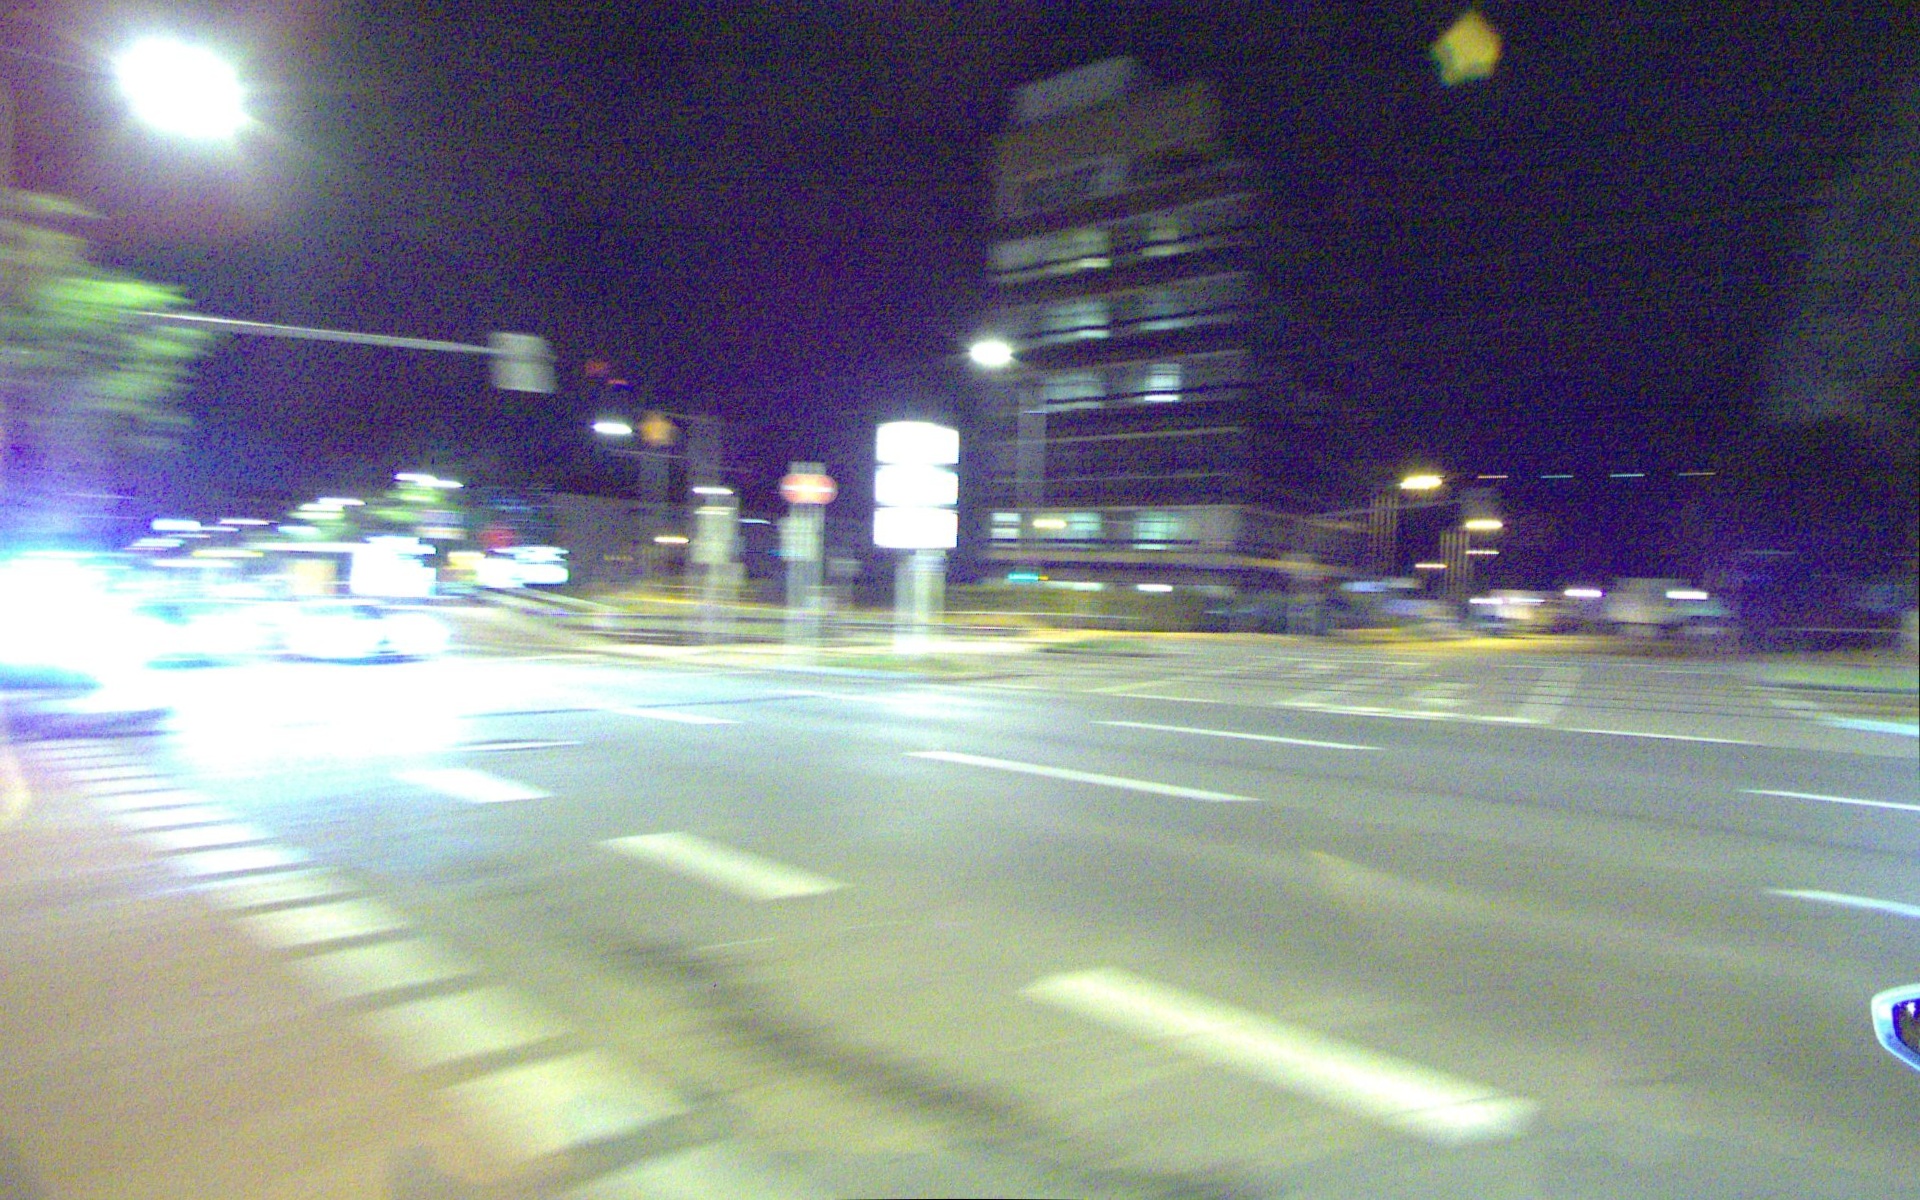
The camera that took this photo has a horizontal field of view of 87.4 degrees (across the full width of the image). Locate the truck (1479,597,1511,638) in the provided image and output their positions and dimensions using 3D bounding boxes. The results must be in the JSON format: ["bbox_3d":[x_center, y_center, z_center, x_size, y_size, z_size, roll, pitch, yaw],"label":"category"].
[{"bbox_3d":[51.801,1.632,97.330,2.543,3.757,5.729,2,1,27],"label":"truck"}]

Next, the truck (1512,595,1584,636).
[{"bbox_3d":[71.263,1.825,122.207,4.742,4.608,12.668,2,0,17],"label":"truck"}]

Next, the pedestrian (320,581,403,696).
[{"bbox_3d":[-8.954,0.551,15.032,0.659,1.656,0.860,1,0,32],"label":"pedestrian"}]

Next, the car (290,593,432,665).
[{"bbox_3d":[-14.096,0.615,23.548,4.141,1.523,1.808,0,0,43],"label":"car"}]

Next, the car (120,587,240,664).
[{"bbox_3d":[-17.756,0.537,22.802,1.893,1.592,3.951,0,-1,-42],"label":"car"}]

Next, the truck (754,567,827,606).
[{"bbox_3d":[-14.487,-1.160,85.662,5.824,3.129,2.901,2,1,38],"label":"truck"}]
